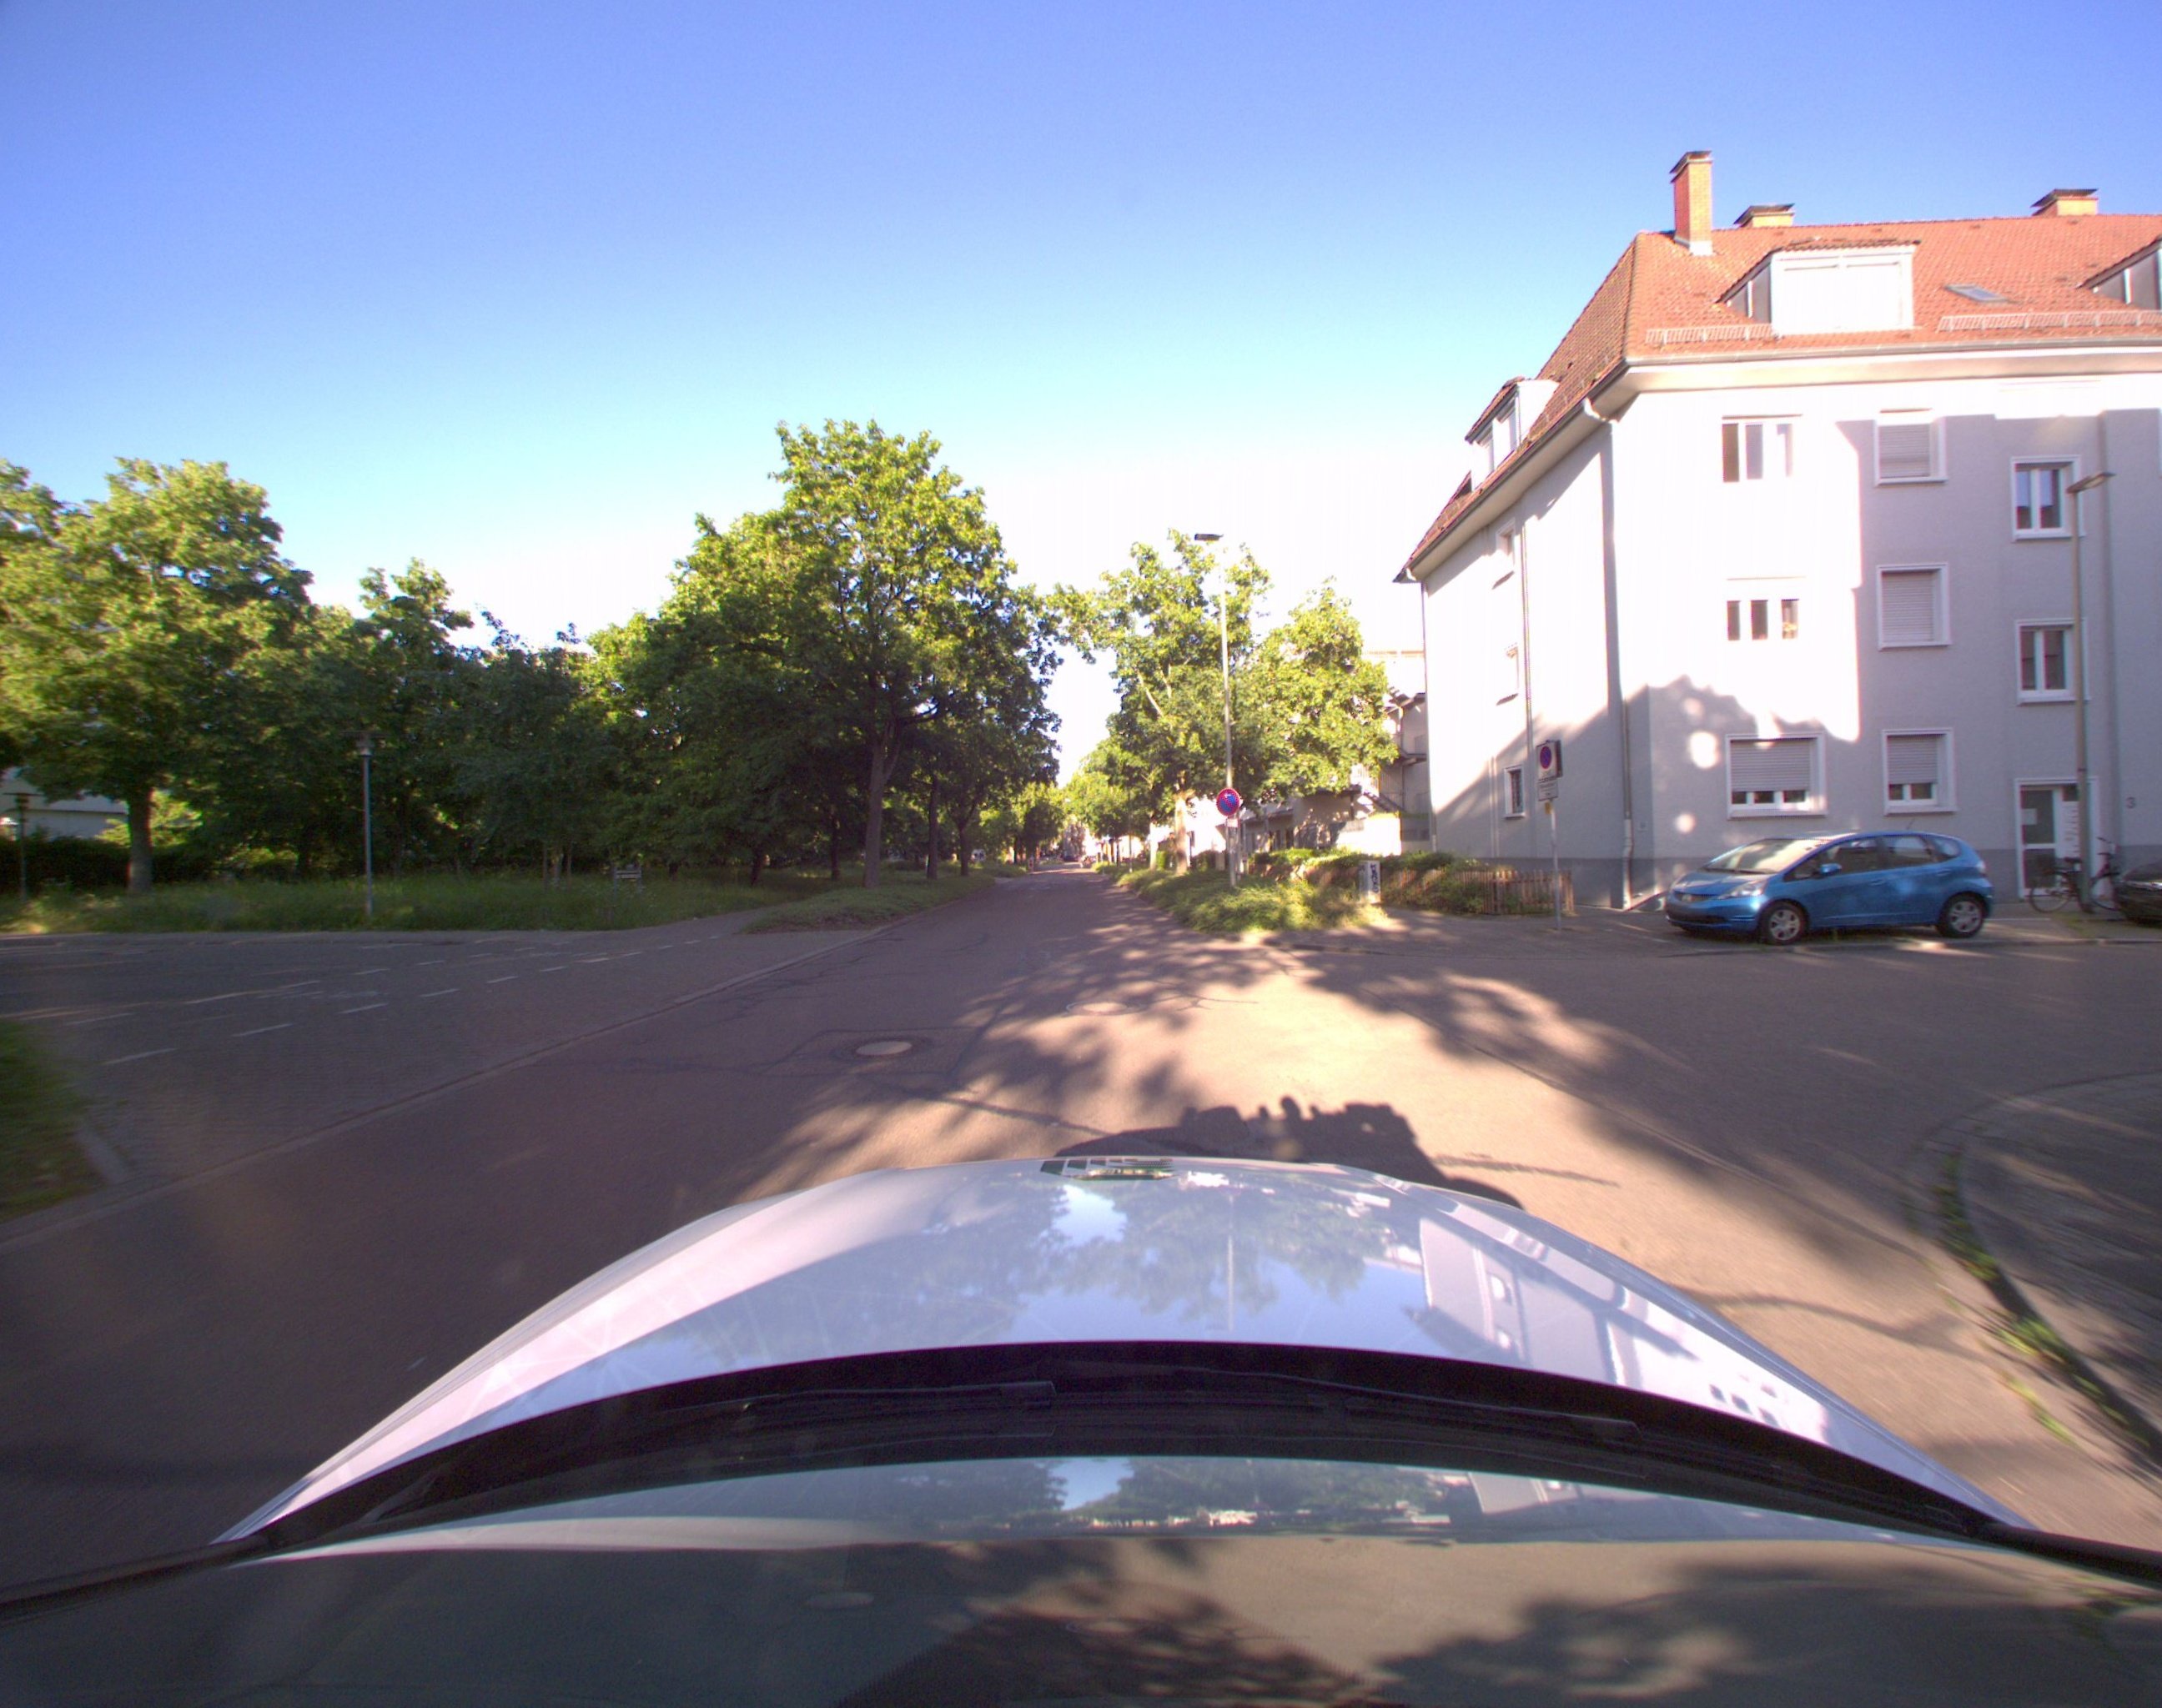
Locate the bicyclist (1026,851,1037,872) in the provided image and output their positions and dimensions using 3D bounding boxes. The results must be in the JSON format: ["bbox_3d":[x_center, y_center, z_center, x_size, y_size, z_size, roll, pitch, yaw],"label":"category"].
[{"bbox_3d":[-3.877,0.595,63.839,0.630,1.555,1.003,-3,0,3],"label":"bicyclist"}]

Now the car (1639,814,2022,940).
[{"bbox_3d":[10.688,0.288,11.823,3.976,1.581,1.809,-2,1,-2],"label":"car"}]

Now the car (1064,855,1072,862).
[{"bbox_3d":[-3.025,1.062,188.971,1.808,1.501,3.994,0,0,-4],"label":"car"}]

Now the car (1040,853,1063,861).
[{"bbox_3d":[-5.190,0.513,143.541,3.986,1.501,1.812,0,0,-9],"label":"car"}]

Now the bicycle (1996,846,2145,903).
[{"bbox_3d":[16.674,0.344,13.740,1.957,0.925,0.483,-1,1,-1],"label":"bicycle"}]

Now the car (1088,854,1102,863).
[{"bbox_3d":[2.461,0.863,145.803,1.810,1.501,3.989,-2,0,-8],"label":"car"}]

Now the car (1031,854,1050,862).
[{"bbox_3d":[-7.802,0.785,155.717,3.586,1.510,1.495,0,0,-9],"label":"car"}]

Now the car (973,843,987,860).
[{"bbox_3d":[-15.115,-0.310,121.899,1.993,2.508,3.987,0,0,-10],"label":"car"}]

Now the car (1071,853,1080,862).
[{"bbox_3d":[-1.159,0.766,174.348,1.808,1.925,3.994,0,0,-4],"label":"car"}]

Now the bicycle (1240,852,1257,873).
[{"bbox_3d":[9.703,0.467,47.201,0.616,1.191,1.752,-1,0,-1],"label":"bicycle"}]

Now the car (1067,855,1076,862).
[{"bbox_3d":[-2.091,1.016,182.460,1.808,1.501,3.994,0,0,-4],"label":"car"}]

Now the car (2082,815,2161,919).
[{"bbox_3d":[17.489,0.157,11.851,3.811,1.498,1.648,-1,0,1],"label":"car"}]

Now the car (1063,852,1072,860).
[{"bbox_3d":[-3.280,0.464,199.178,1.808,2.050,3.994,0,0,-4],"label":"car"}]

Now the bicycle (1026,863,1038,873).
[{"bbox_3d":[-3.846,1.113,63.831,0.636,0.742,2.128,-3,0,3],"label":"bicycle"}]
